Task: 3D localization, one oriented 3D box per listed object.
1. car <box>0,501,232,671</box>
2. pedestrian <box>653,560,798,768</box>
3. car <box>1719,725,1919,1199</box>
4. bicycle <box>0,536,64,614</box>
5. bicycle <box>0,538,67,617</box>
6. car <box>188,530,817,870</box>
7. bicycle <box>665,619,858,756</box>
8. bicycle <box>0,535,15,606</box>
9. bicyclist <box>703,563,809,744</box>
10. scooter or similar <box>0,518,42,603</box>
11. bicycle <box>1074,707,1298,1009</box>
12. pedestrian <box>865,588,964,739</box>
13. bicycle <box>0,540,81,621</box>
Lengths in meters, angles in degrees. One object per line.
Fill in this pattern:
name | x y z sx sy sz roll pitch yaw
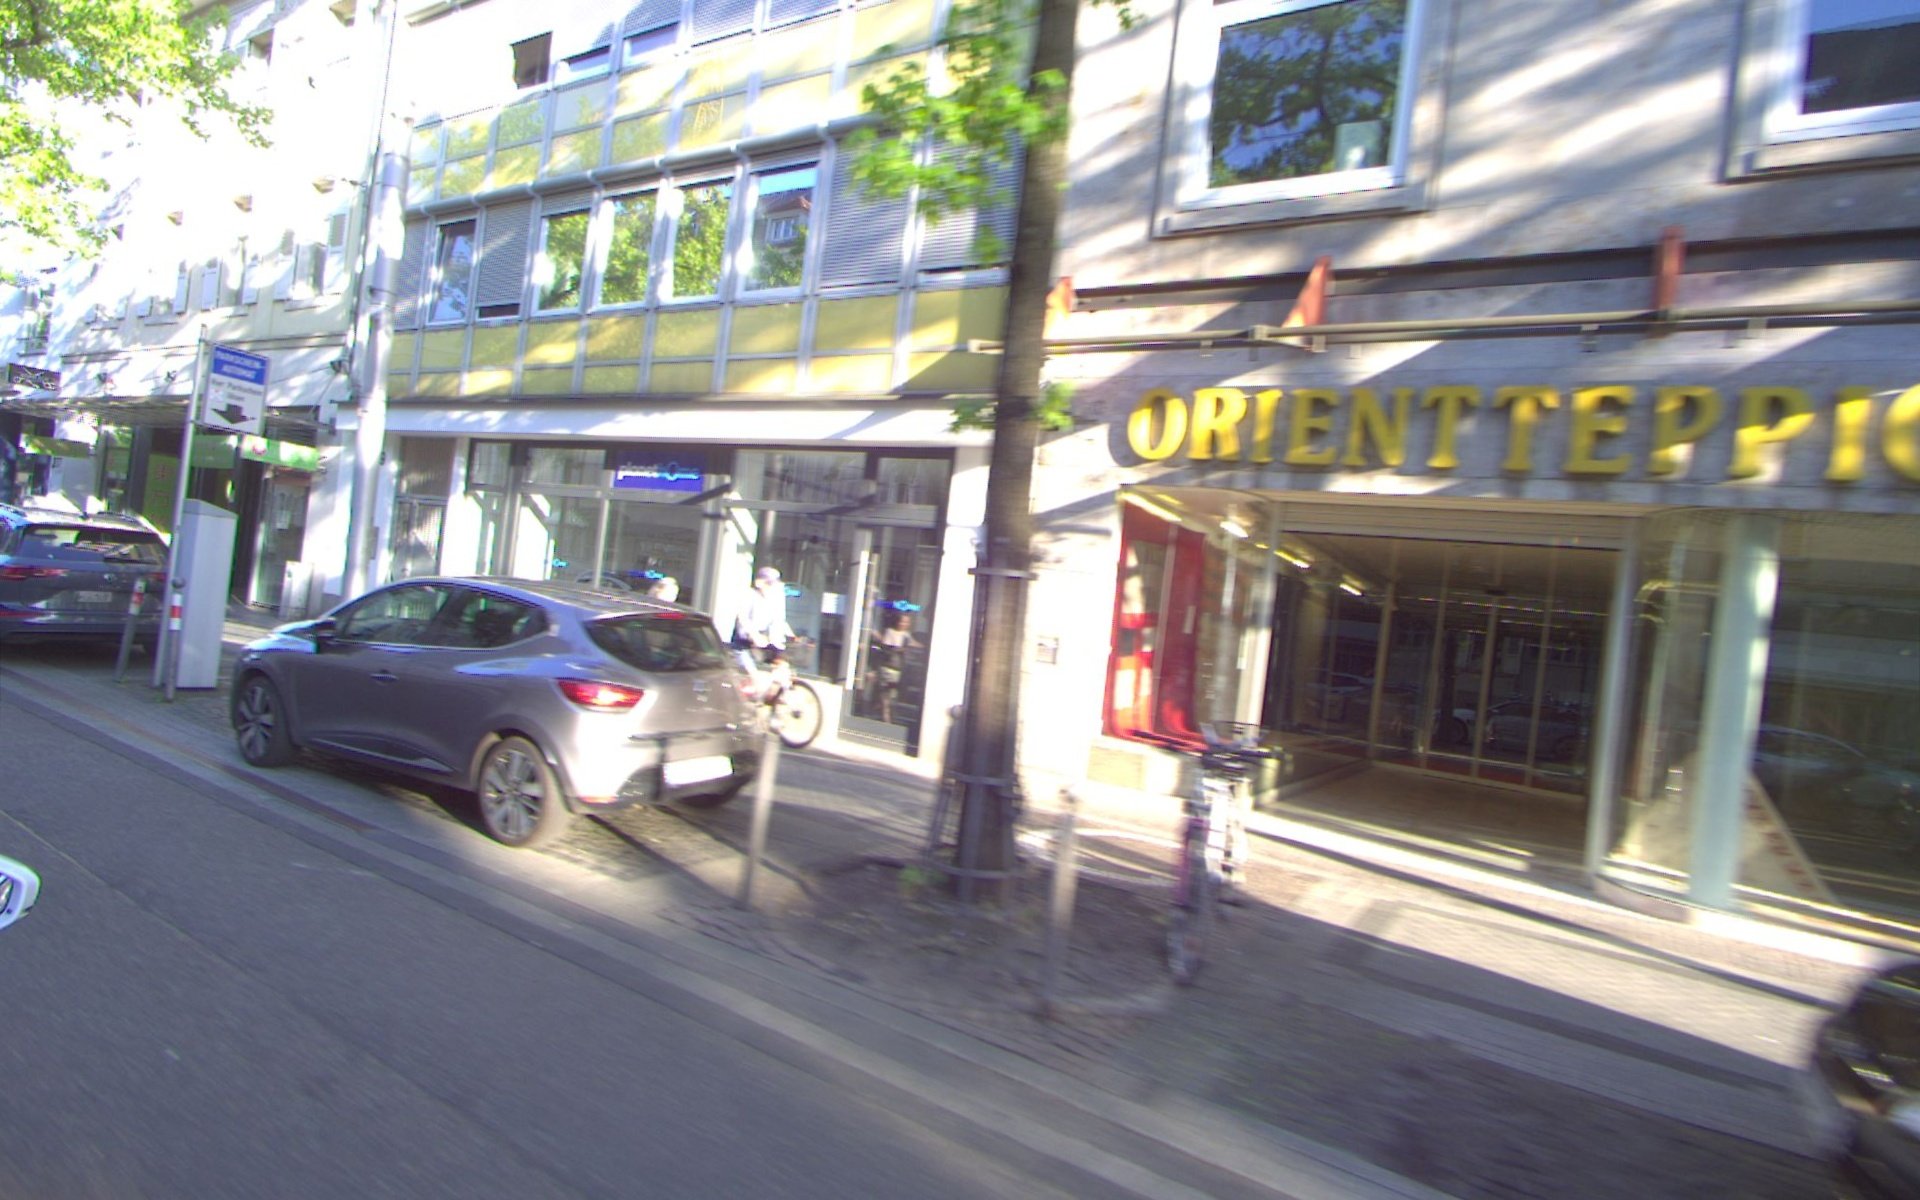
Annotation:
car | -9.689 -0.246 10.669 4.040 1.471 1.871 6 1 34
pedestrian | -2.035 0.556 8.785 0.688 1.665 0.798 7 0 30
car | 4.111 1.346 2.181 3.593 1.477 1.801 6 2 30
bicycle | -13.165 -0.387 13.524 0.489 0.976 1.538 7 -1 39
bicycle | -12.940 -0.364 12.983 0.278 0.976 2.038 7 -2 37
car | -3.168 0.476 6.882 3.930 1.506 1.816 6 2 27
bicycle | -2.000 0.843 10.046 1.830 1.087 0.648 7 0 31
bicycle | -14.207 -0.501 13.908 0.488 0.976 1.539 7 -1 36
bicyclist | -2.039 0.532 10.088 0.589 1.705 0.639 7 0 30
scooter or similar | -14.688 -0.662 14.806 0.664 1.210 1.539 7 -1 36
bicycle | 1.234 1.168 5.139 0.699 1.087 1.861 7 -1 22
pedestrian | -0.555 0.770 12.267 0.814 1.705 0.639 7 0 30
bicycle | -12.589 -0.310 12.896 0.327 0.976 1.897 7 -1 37
